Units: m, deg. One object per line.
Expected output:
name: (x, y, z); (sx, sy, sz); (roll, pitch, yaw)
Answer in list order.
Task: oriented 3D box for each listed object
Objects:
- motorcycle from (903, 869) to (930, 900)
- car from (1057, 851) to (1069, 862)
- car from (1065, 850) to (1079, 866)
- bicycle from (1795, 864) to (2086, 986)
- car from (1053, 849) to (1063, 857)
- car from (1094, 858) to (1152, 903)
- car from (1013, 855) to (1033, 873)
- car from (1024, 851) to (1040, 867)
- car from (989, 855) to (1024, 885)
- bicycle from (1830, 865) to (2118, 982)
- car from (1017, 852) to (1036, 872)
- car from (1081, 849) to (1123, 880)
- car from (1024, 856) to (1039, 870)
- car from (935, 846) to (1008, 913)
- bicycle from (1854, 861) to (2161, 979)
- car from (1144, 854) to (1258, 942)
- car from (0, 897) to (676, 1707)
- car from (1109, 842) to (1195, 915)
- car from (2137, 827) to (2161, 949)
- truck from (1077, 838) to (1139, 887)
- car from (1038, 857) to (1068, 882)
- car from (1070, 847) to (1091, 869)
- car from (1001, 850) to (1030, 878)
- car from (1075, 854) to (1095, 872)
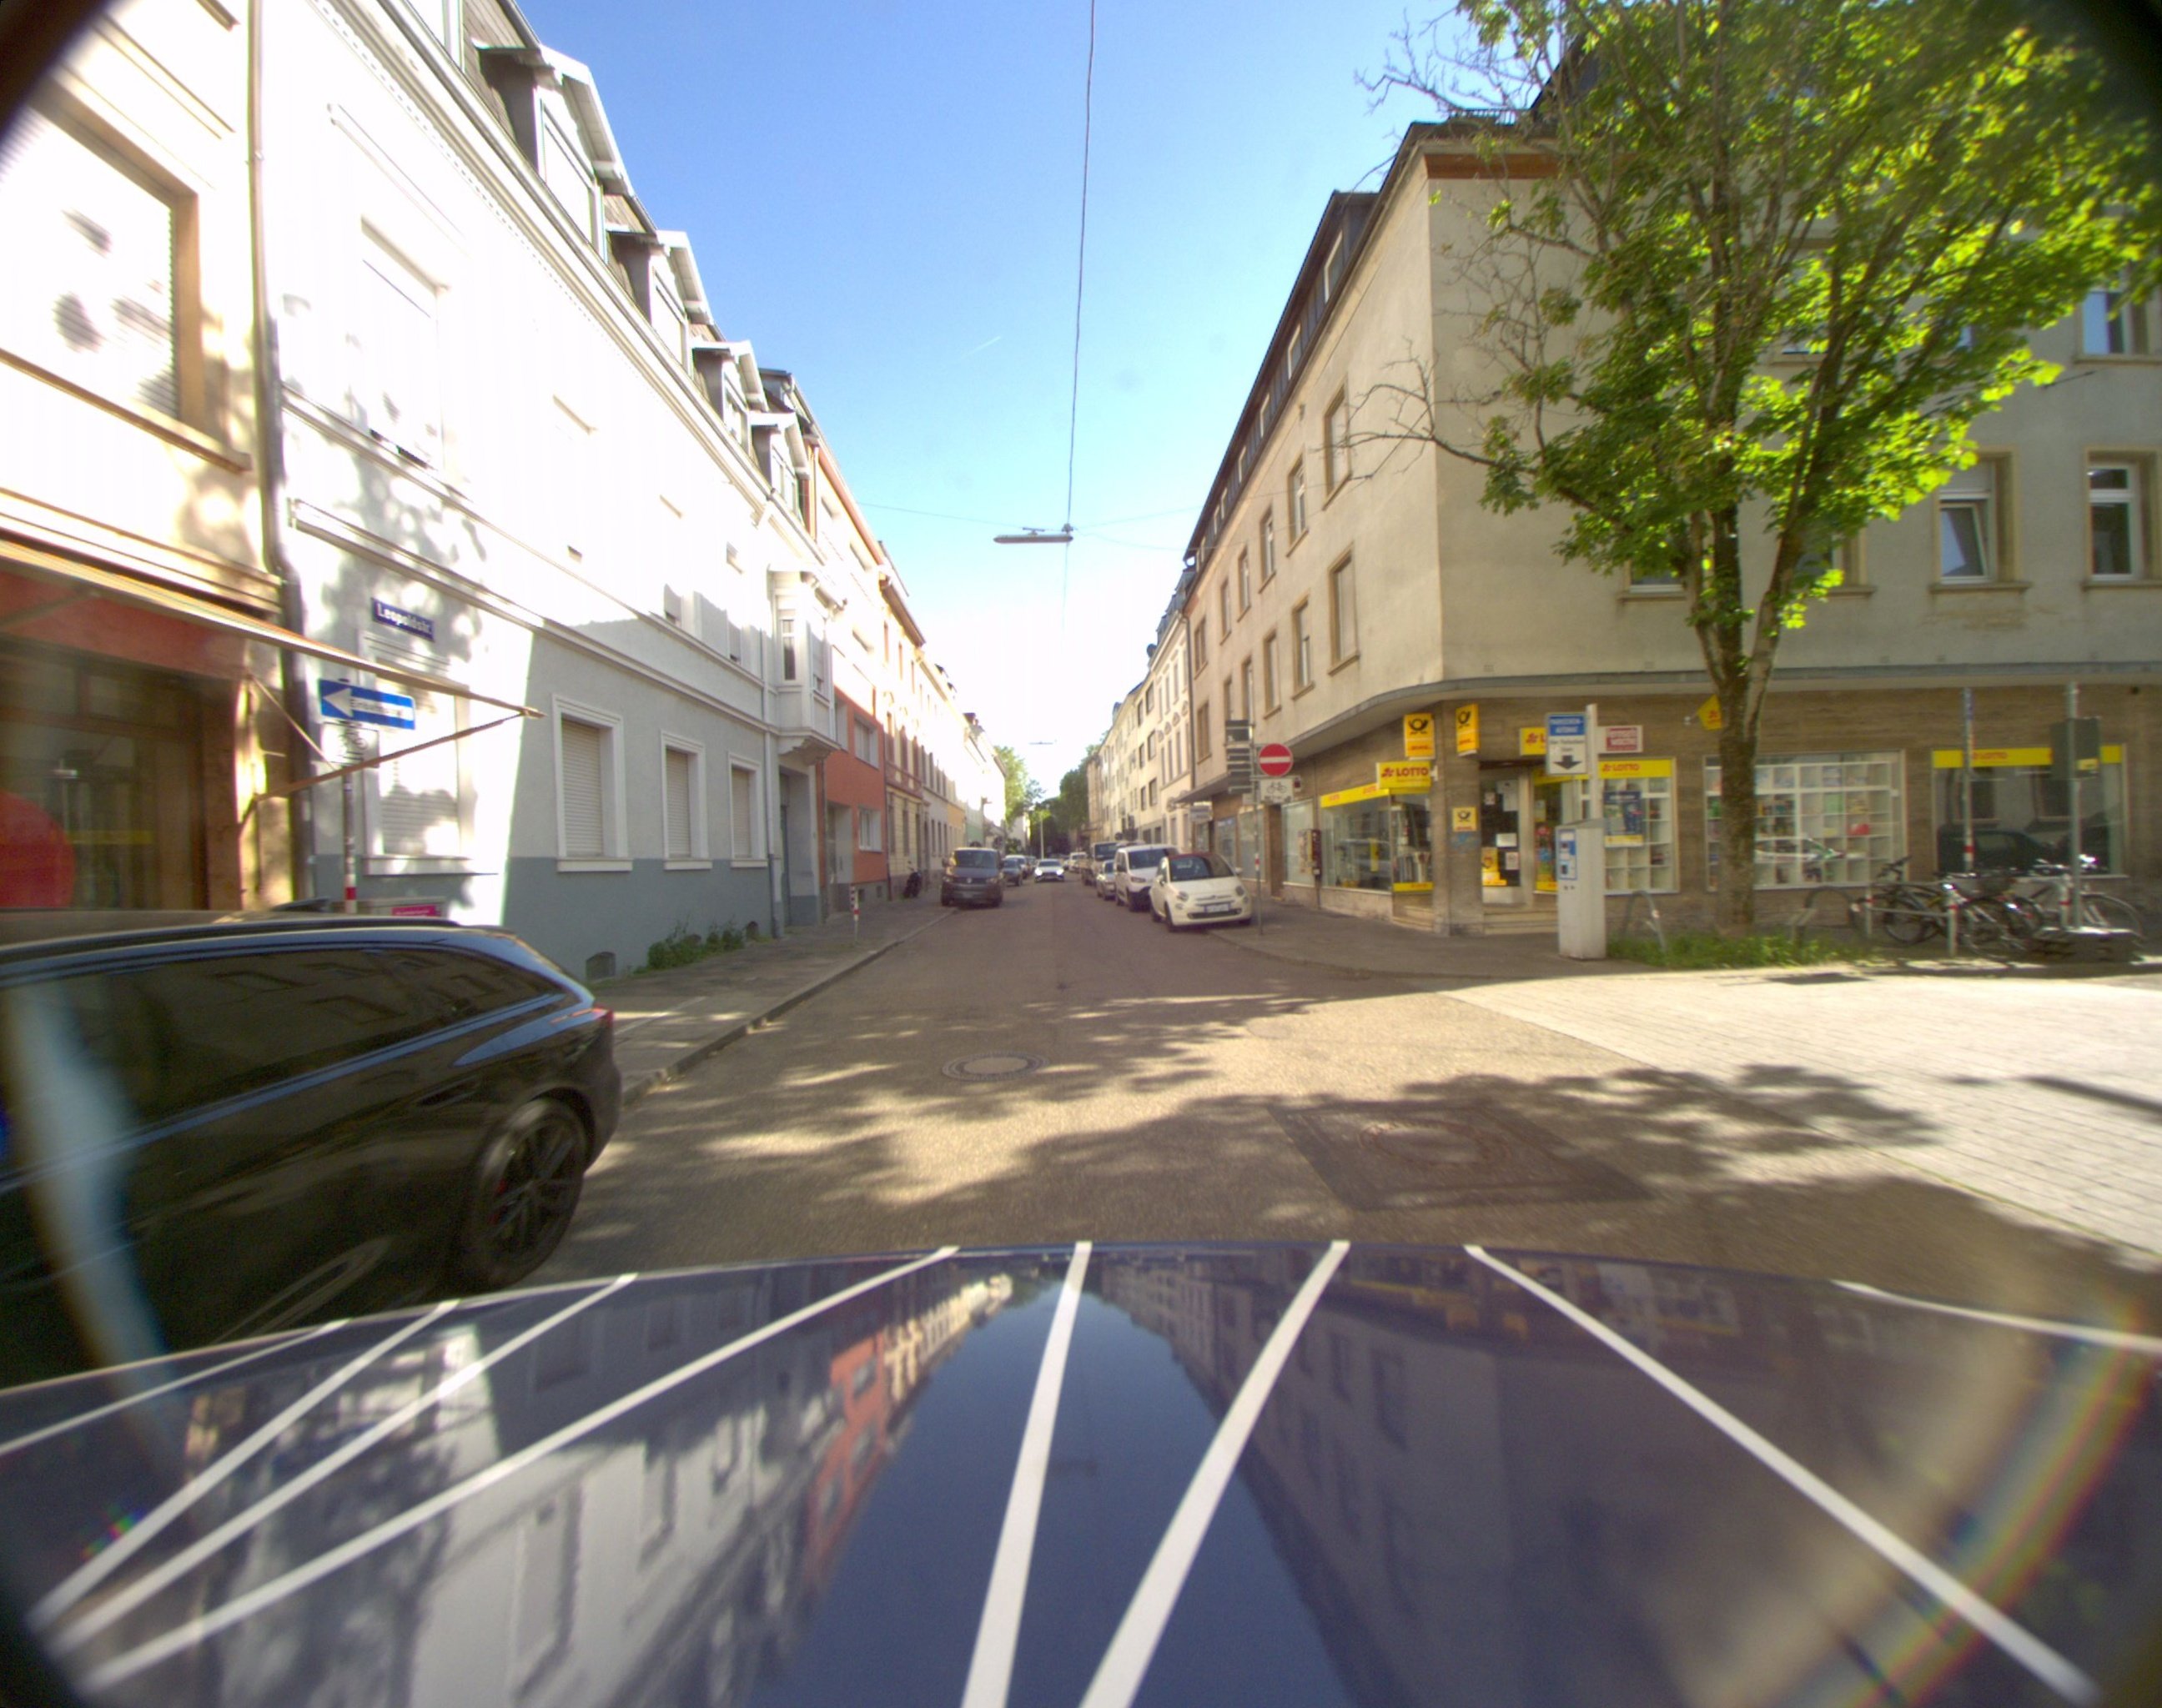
motorcycle: (-6.344, 1.164, 29.374); (0.638, 1.038, 2.362); (-2, 1, -4)
car: (-3.028, 0.411, 126.628); (1.787, 1.674, 4.020); (-2, 1, -2)
car: (-1.143, 0.488, 97.042); (1.586, 1.971, 4.066); (-2, 1, -2)
bicycle: (9.675, 0.725, 8.747); (0.709, 1.136, 2.307); (-2, 1, -1)
car: (-5.045, -0.265, 166.261); (1.986, 1.674, 4.020); (-2, 1, -2)
car: (1.479, 0.925, 28.154); (1.669, 1.514, 4.487); (0, 0, -3)
car: (-5.052, 0.878, 66.455); (1.578, 1.459, 3.869); (-2, -1, -2)
car: (-6.379, 0.614, 99.121); (1.787, 1.867, 4.020); (-2, 1, -2)
car: (-4.271, 0.894, 44.085); (1.745, 1.534, 4.049); (-2, 1, -2)
bicycle: (10.338, 0.728, 8.986); (0.523, 1.111, 2.403); (-2, 1, -2)
car: (-5.189, 0.759, 72.150); (1.605, 1.772, 3.759); (-2, 0, -2)
car: (1.246, 0.597, 47.812); (1.919, 1.871, 5.182); (0, 0, -7)
car: (-5.723, 1.020, 87.784); (1.589, 1.409, 3.556); (-2, 1, -2)
car: (-3.681, 0.797, 26.426); (1.975, 2.017, 4.897); (-4, 0, -3)
bicycle: (10.934, 0.692, 9.069); (0.709, 1.121, 2.427); (-2, 1, -10)
car: (2.388, 0.819, 15.963); (1.672, 1.551, 3.721); (-2, 0, -1)
car: (-2.979, 1.069, 1.489); (1.806, 1.570, 4.895); (-3, 1, -2)
car: (1.948, 0.648, 22.165); (1.772, 1.887, 4.807); (0, 0, -3)
car: (16.114, 0.402, 9.113); (4.237, 1.578, 1.901); (-2, 2, 0)
truck: (1.292, 0.363, 39.514); (2.171, 2.295, 6.343); (-1, 1, -8)
car: (-1.755, 0.937, 47.922); (1.761, 1.399, 4.020); (-2, 1, -2)
car: (-0.102, 0.403, 77.376); (1.914, 2.076, 4.695); (-2, 1, -2)
car: (-4.865, 0.720, 57.177); (1.899, 1.875, 4.456); (-2, 1, -2)
car: (0.353, 0.805, 70.888); (1.731, 1.484, 4.114); (-3, 0, -1)
